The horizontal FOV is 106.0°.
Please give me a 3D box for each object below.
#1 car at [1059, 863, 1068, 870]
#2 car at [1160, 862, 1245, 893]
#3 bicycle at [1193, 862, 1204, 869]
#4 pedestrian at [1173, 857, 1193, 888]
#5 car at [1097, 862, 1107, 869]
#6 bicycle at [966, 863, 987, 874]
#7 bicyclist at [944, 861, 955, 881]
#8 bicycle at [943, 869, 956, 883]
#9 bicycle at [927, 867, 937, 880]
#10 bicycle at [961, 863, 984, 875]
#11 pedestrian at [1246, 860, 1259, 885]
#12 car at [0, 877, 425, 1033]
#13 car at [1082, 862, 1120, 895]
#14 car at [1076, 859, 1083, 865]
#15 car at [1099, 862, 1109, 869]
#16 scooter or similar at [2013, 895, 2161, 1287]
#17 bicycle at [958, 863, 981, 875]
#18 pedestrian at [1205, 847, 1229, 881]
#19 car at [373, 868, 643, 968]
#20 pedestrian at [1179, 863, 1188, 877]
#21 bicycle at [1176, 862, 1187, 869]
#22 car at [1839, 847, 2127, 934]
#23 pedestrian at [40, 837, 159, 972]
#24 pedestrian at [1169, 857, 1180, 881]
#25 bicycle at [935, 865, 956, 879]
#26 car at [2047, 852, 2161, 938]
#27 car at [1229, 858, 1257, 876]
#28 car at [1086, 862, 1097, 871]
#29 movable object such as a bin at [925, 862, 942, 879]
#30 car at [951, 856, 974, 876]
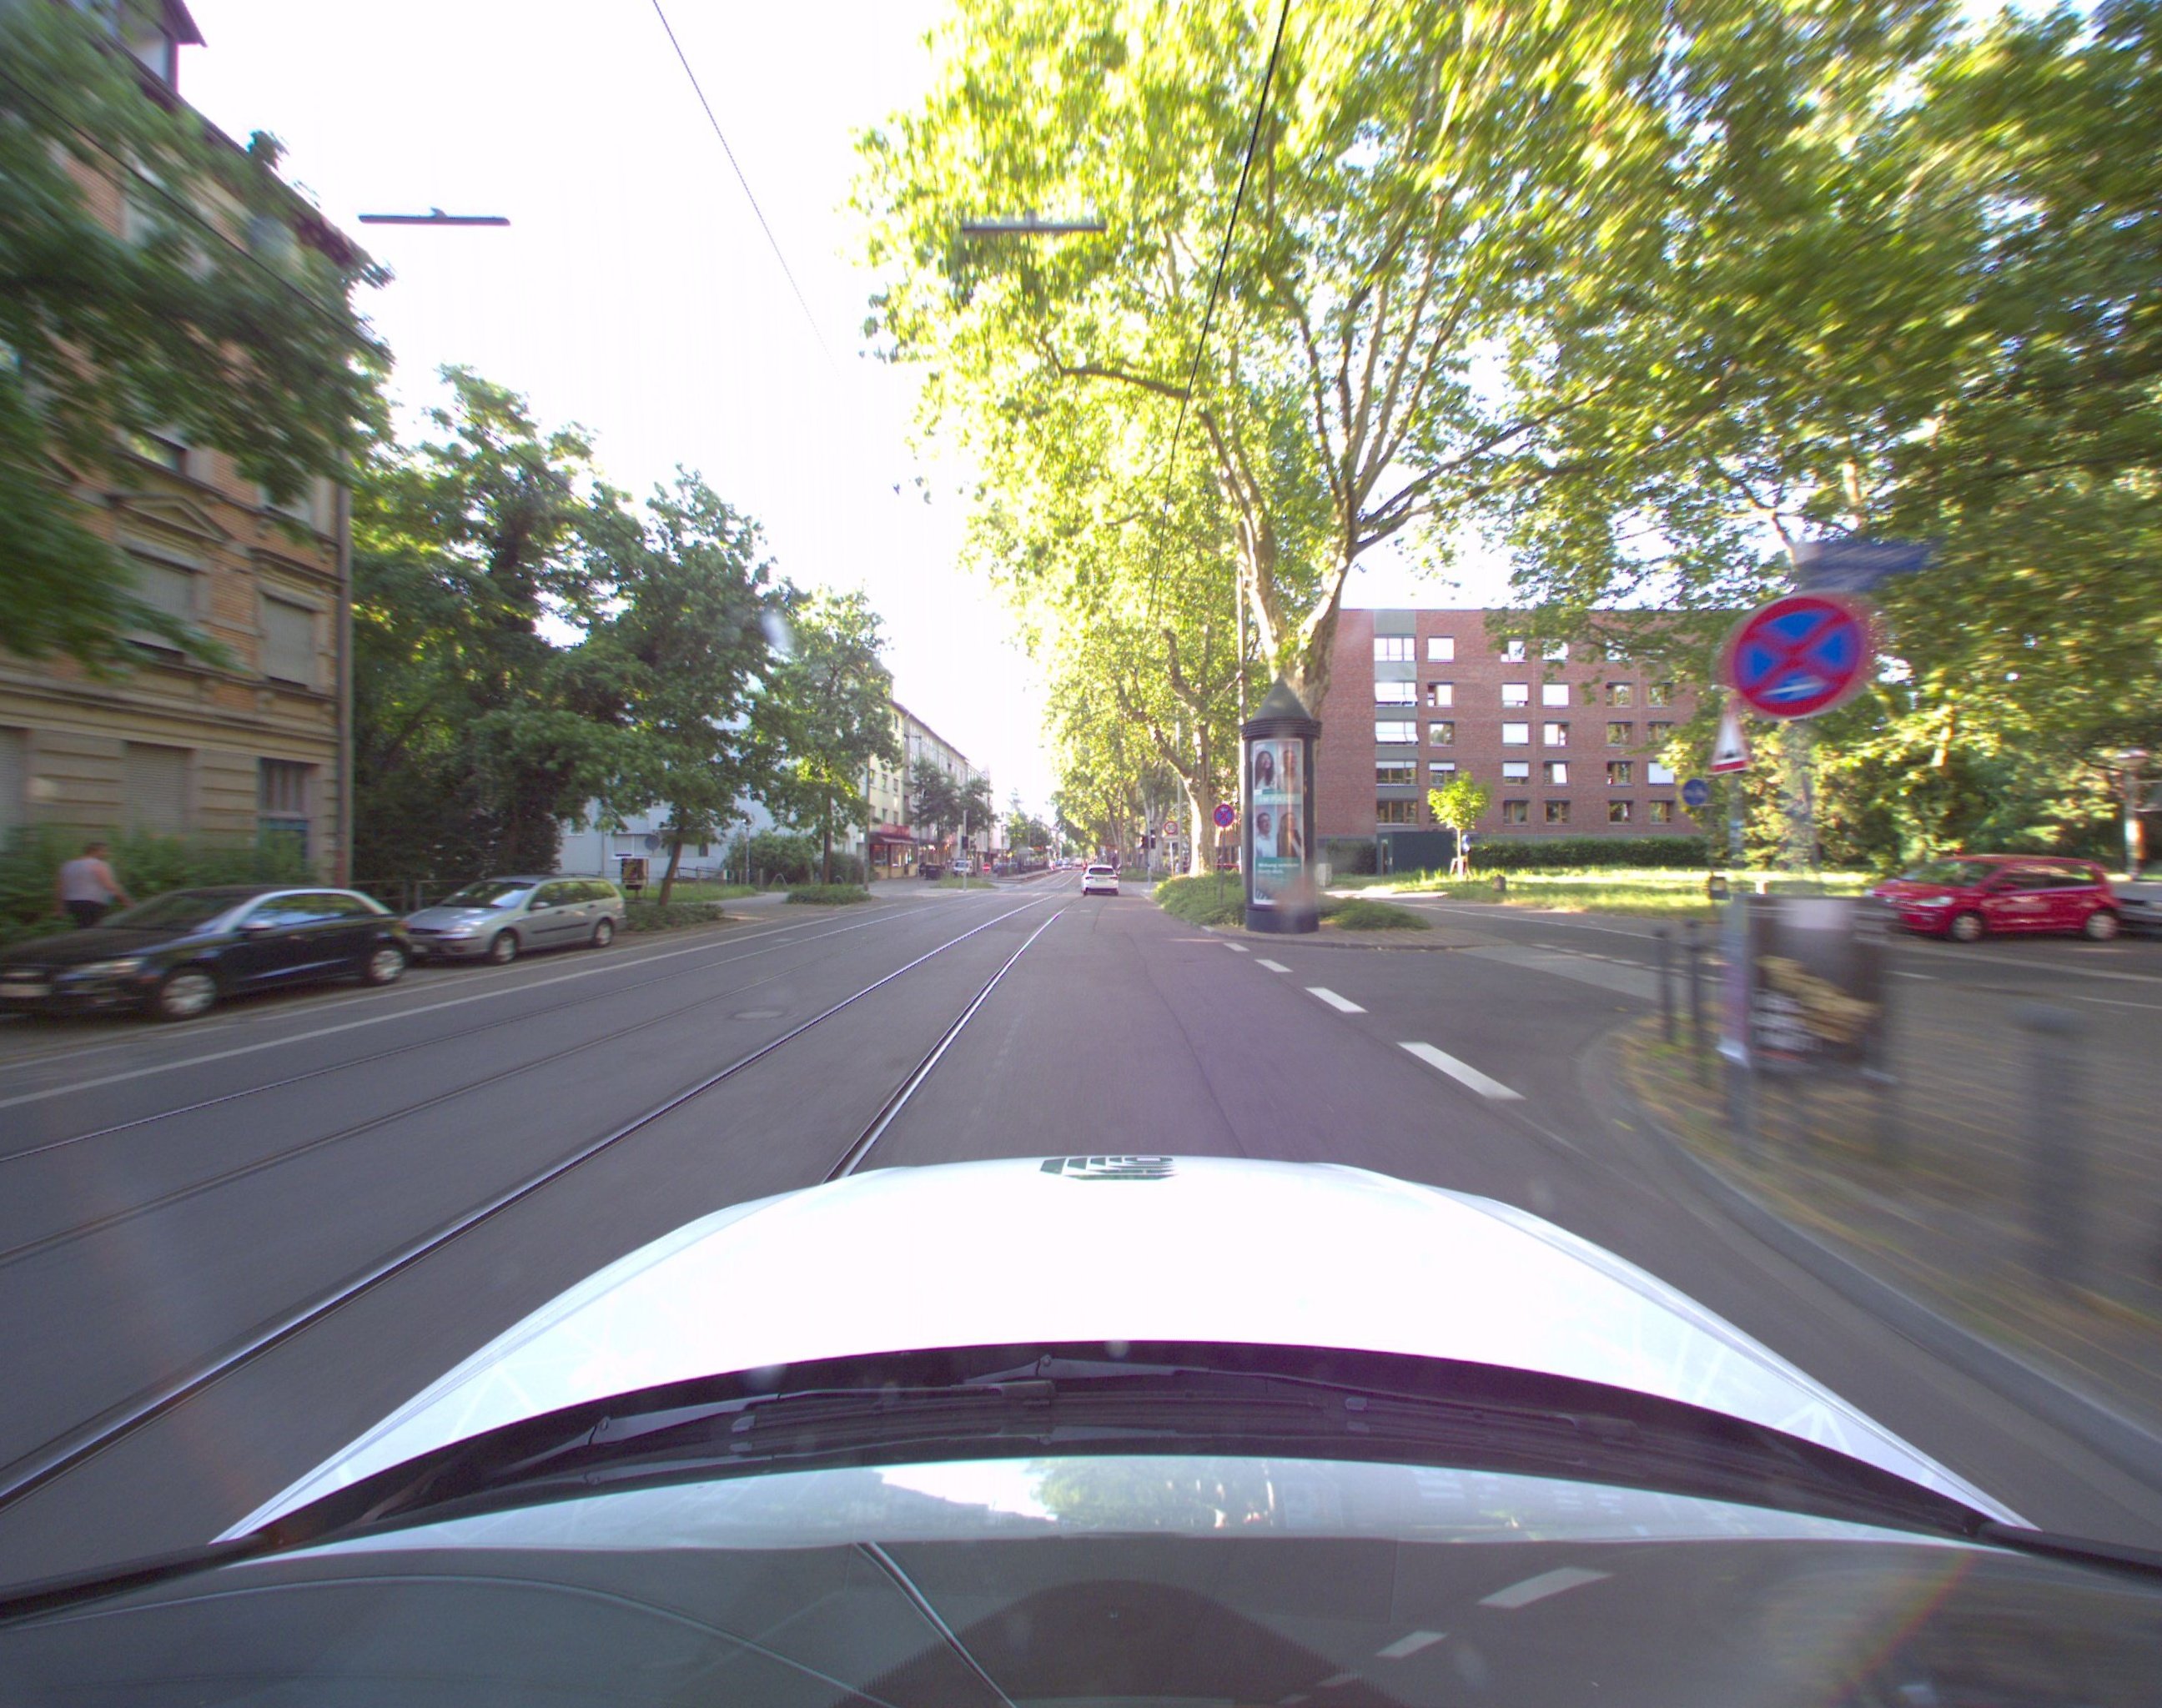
[{"bbox_3d":[-3.476,2.511,164.099,1.688,1.419,4.000,0,0,0],"label":"car"},{"bbox_3d":[5.739,1.099,38.891,3.868,1.423,1.650,-1,-1,3],"label":"car"},{"bbox_3d":[17.086,1.663,118.709,1.552,1.037,0.482,-1,-1,21],"label":"bicycle"},{"bbox_3d":[6.052,1.072,48.236,0.993,1.811,0.863,-1,-1,-5],"label":"pedestrian"},{"bbox_3d":[4.365,2.339,166.633,1.987,1.453,4.000,0,0,0],"label":"car"},{"bbox_3d":[-11.758,1.640,91.643,2.245,1.074,0.636,3,-1,1],"label":"bicycle"},{"bbox_3d":[-9.881,1.258,61.239,0.639,1.455,0.837,-1,-1,-1],"label":"bicyclist"},{"bbox_3d":[-9.864,1.636,61.225,0.639,0.987,2.100,-1,0,0],"label":"bicycle"},{"bbox_3d":[-12.518,1.630,68.477,0.497,1.107,1.798,3,-1,-2],"label":"bicycle"},{"bbox_3d":[-11.721,1.620,87.946,2.245,1.074,0.636,3,-1,1],"label":"bicycle"},{"bbox_3d":[11.827,1.259,56.110,0.733,1.669,0.834,-1,-1,-1],"label":"pedestrian"},{"bbox_3d":[-10.534,1.064,10.046,1.653,1.445,3.948,0,0,0],"label":"car"},{"bbox_3d":[0.952,1.175,40.184,1.782,1.513,4.000,0,0,0],"label":"car"},{"bbox_3d":[-0.484,2.333,237.326,1.860,1.892,4.000,0,0,0],"label":"car"},{"bbox_3d":[4.510,2.284,161.548,1.987,1.453,4.000,0,0,0],"label":"car"},{"bbox_3d":[4.078,0.769,2.750,1.205,1.240,0.569,-1,-1,-2],"label":"scooter or similar"},{"bbox_3d":[-11.779,1.590,86.299,2.245,1.074,0.636,3,-1,1],"label":"bicycle"},{"bbox_3d":[7.739,0.557,46.411,0.981,1.864,1.014,-4,0,-5],"label":"pedestrian"},{"bbox_3d":[-10.484,1.068,15.427,1.692,1.550,4.540,0,0,3],"label":"car"},{"bbox_3d":[11.659,1.816,92.835,0.969,1.623,0.887,0,-1,0],"label":"pedestrian"},{"bbox_3d":[14.683,1.714,118.617,1.552,1.037,0.482,-1,-1,21],"label":"bicycle"},{"bbox_3d":[16.510,0.638,15.026,3.528,1.452,1.682,-1,0,-2],"label":"car"},{"bbox_3d":[-13.891,0.696,11.548,0.739,1.847,0.728,1,-1,-2],"label":"pedestrian"},{"bbox_3d":[6.530,1.040,57.018,0.650,1.669,0.738,-1,-1,-1],"label":"pedestrian"},{"bbox_3d":[-11.486,1.554,69.154,1.529,1.075,0.885,3,0,-1],"label":"bicycle"},{"bbox_3d":[20.404,0.682,14.760,3.907,1.452,1.682,-1,0,-2],"label":"car"},{"bbox_3d":[13.633,1.106,68.602,1.596,1.495,3.415,0,-1,-1],"label":"car"},{"bbox_3d":[1.795,2.089,139.022,1.782,1.513,4.000,0,0,0],"label":"car"},{"bbox_3d":[-12.149,1.363,67.082,1.167,1.348,0.782,3,-1,-4],"label":"movable object such as a bin"},{"bbox_3d":[-11.651,1.174,80.346,1.682,1.940,3.999,0,-1,0],"label":"car"}]
